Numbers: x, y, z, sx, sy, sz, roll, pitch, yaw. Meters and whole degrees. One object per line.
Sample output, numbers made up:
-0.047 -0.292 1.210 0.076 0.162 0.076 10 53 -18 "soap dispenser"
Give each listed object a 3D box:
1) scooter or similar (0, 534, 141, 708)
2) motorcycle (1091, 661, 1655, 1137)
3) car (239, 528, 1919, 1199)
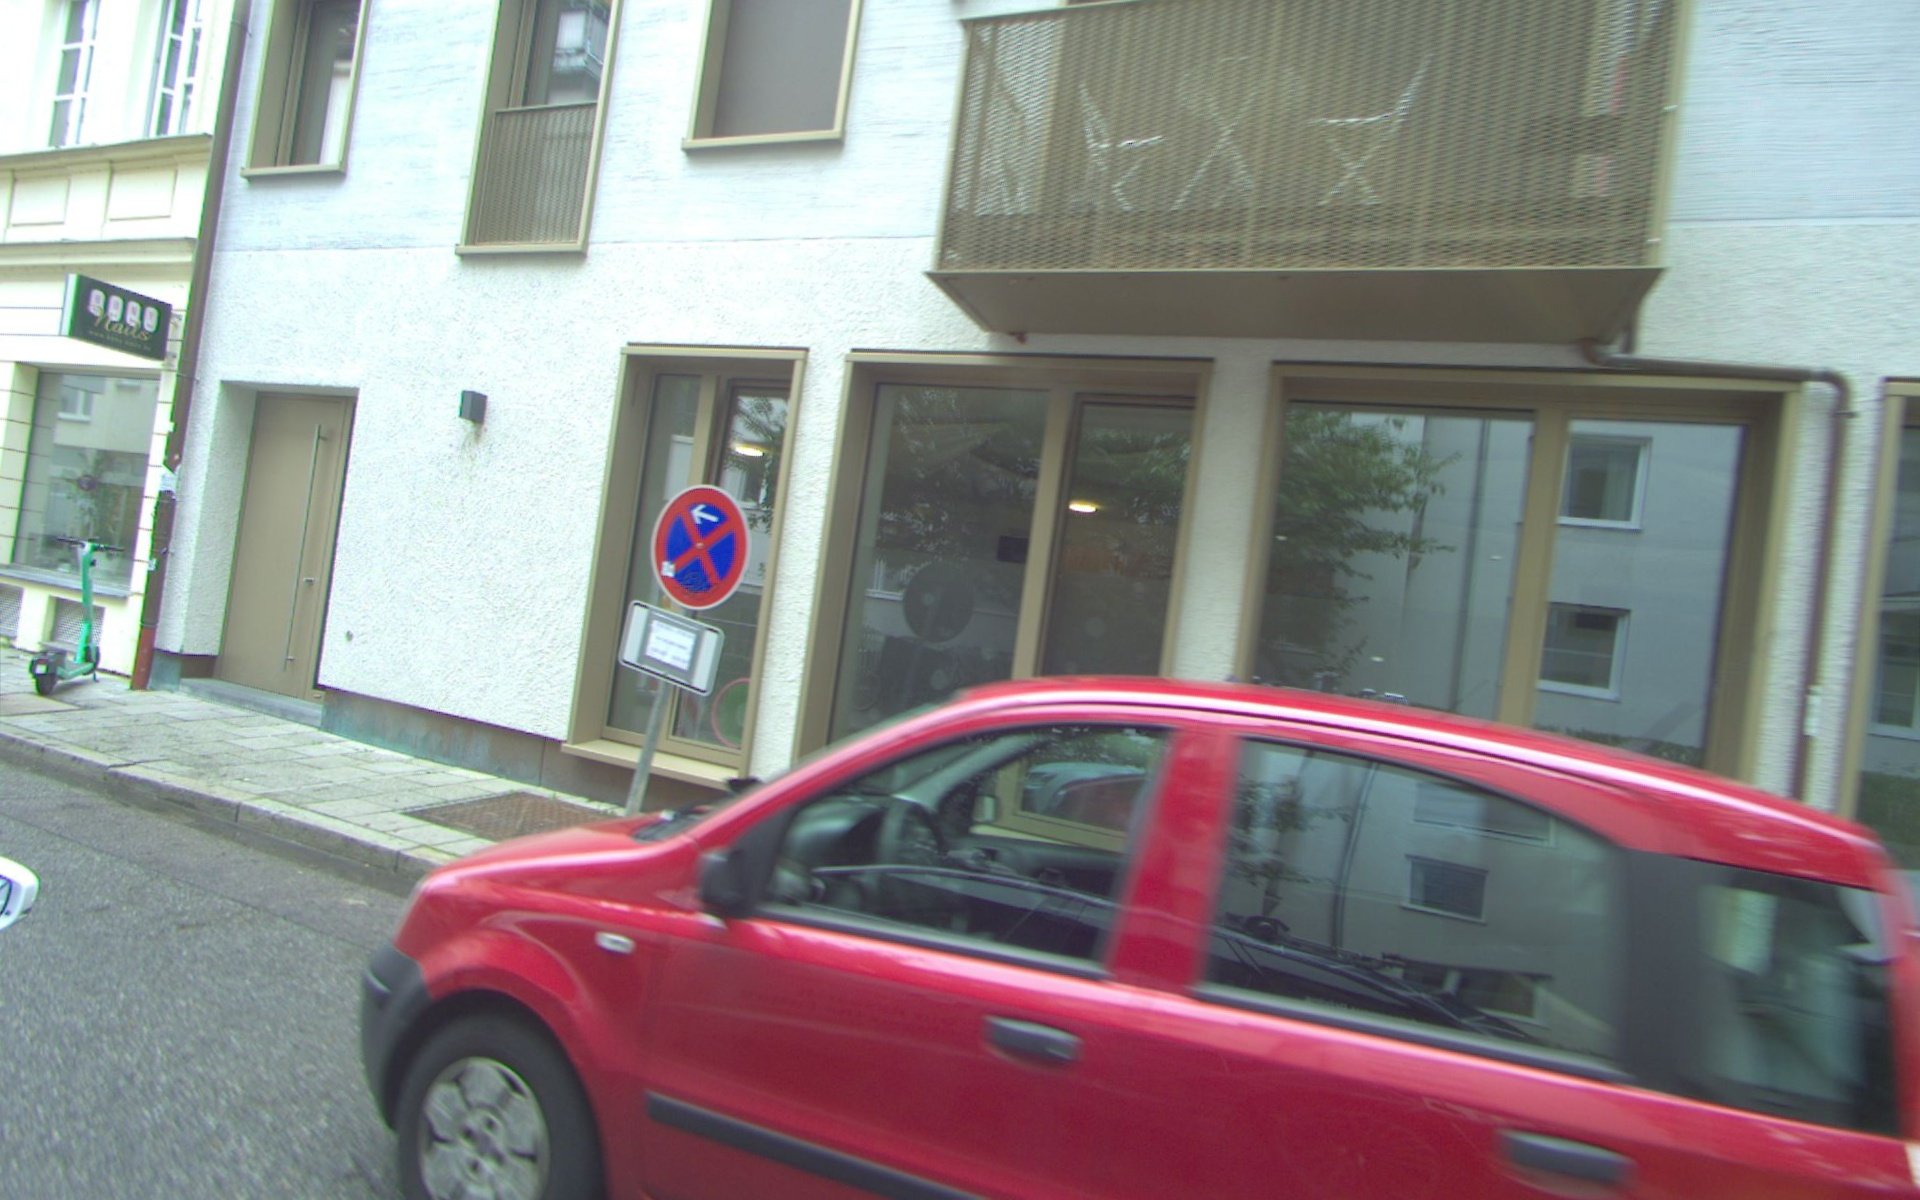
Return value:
-7.041 0.112 7.923 0.489 1.199 1.596 6 2 -26 "scooter or similar"
1.672 1.115 4.332 1.897 1.441 0.806 7 2 23 "motorcycle"
0.478 0.918 2.496 3.993 1.540 1.780 7 -4 25 "car"
